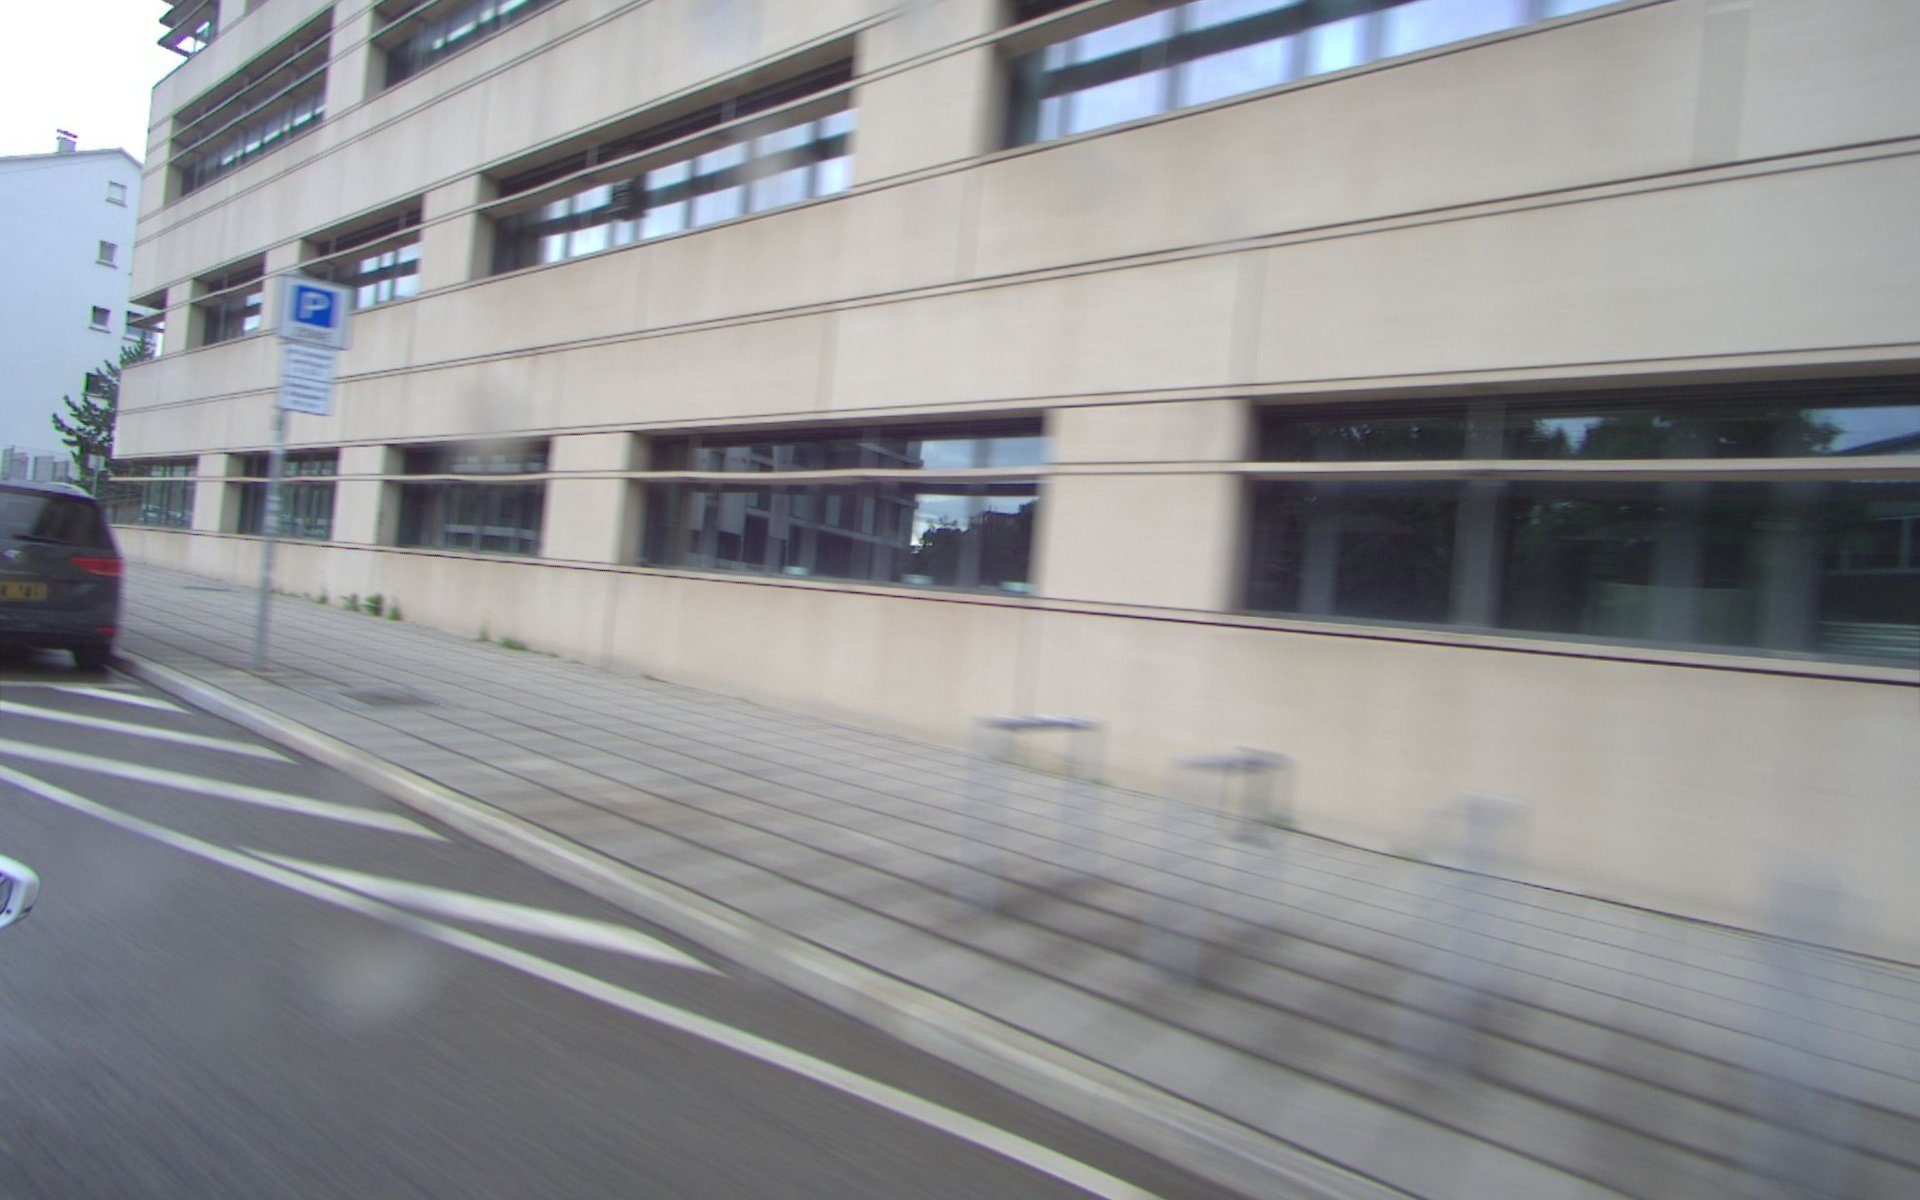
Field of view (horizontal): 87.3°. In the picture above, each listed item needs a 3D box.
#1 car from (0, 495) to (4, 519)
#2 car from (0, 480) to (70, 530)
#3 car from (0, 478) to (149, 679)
[{"bbox_3d":[-13.651,-0.756,12.526,3.996,1.529,1.727,6,-3,36],"label":"car"},{"bbox_3d":[-37.999,-3.842,39.352,1.875,1.735,4.434,6,2,36],"label":"car"},{"bbox_3d":[-9.625,-0.371,9.565,4.326,1.623,1.772,6,-1,36],"label":"car"}]
